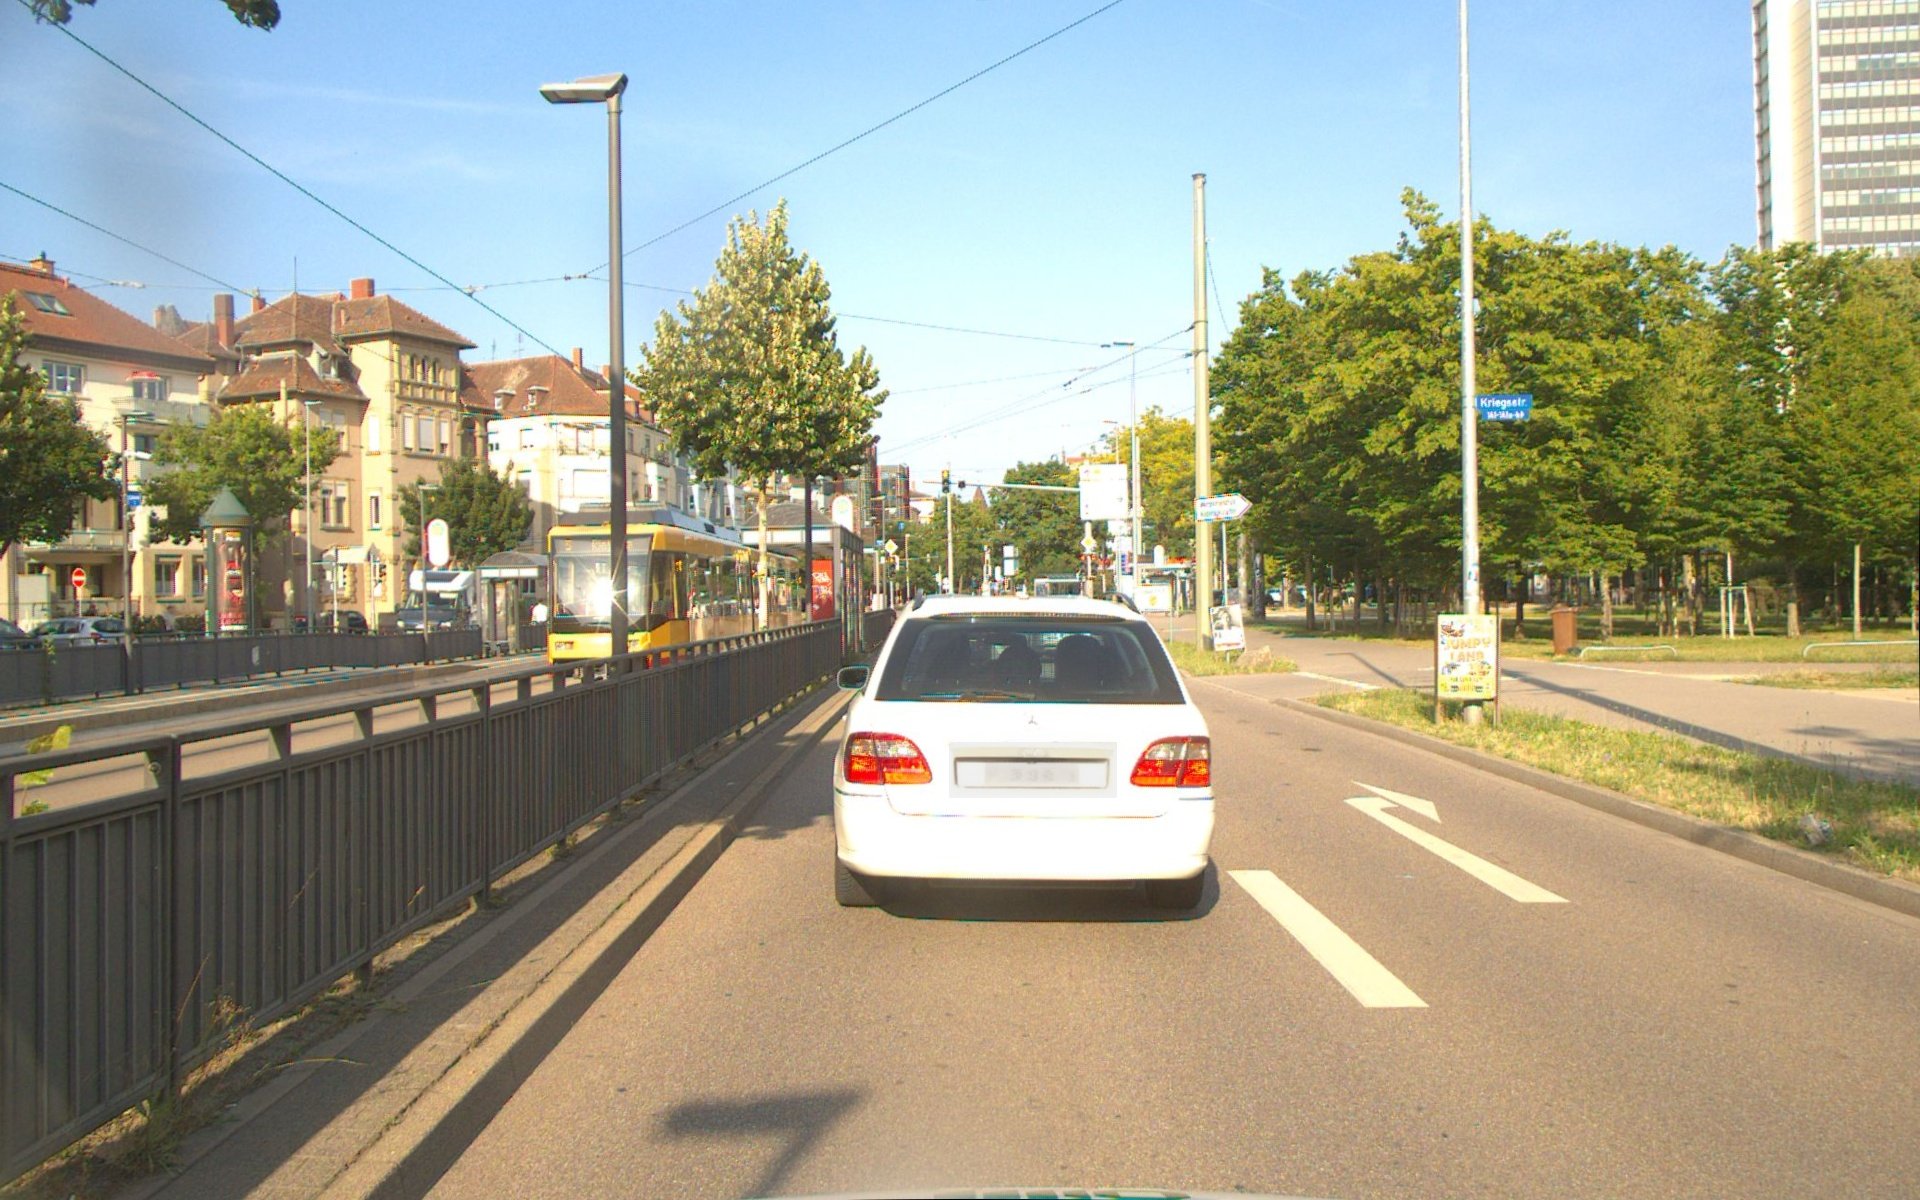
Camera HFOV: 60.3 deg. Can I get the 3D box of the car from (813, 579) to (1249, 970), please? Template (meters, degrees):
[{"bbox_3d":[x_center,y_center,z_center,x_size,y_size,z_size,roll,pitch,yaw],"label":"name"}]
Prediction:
[{"bbox_3d":[0.293,0.700,8.723,1.722,1.530,4.000,-2,0,0],"label":"car"}]

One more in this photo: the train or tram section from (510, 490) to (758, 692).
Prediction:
[{"bbox_3d":[-6.512,-0.228,35.570,2.791,3.540,13.199,0,1,0],"label":"train or tram section"}]

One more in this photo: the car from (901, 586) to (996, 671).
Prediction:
[{"bbox_3d":[-0.201,0.566,35.865,1.750,1.719,4.002,-1,0,4],"label":"car"}]

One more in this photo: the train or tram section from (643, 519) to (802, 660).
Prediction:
[{"bbox_3d":[-6.638,-0.326,48.409,2.791,3.540,13.199,-1,0,0],"label":"train or tram section"}]

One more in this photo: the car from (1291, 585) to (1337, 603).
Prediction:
[{"bbox_3d":[34.417,-0.594,160.832,3.940,1.680,1.982,-2,0,-27],"label":"car"}]

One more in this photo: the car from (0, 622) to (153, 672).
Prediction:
[{"bbox_3d":[-26.675,1.394,49.756,3.902,1.422,2.002,0,0,14],"label":"car"}]

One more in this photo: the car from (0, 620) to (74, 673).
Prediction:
[{"bbox_3d":[-27.608,1.304,47.036,3.902,1.422,2.002,0,0,14],"label":"car"}]

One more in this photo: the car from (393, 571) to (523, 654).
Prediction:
[{"bbox_3d":[-17.987,0.407,59.739,2.544,2.783,7.467,-1,0,-1],"label":"car"}]

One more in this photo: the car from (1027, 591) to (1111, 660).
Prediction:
[{"bbox_3d":[2.752,0.615,41.920,1.990,1.633,4.002,-1,0,4],"label":"car"}]

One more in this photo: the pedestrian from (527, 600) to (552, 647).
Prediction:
[{"bbox_3d":[-16.355,0.904,64.302,0.871,1.784,0.744,-1,0,-11],"label":"pedestrian"}]

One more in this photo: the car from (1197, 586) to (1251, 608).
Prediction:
[{"bbox_3d":[21.255,-0.245,133.181,3.908,1.680,1.999,-2,0,25],"label":"car"}]

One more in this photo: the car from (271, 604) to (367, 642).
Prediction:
[{"bbox_3d":[-30.905,1.108,79.754,3.903,1.780,2.001,0,0,17],"label":"car"}]

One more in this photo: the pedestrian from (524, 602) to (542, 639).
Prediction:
[{"bbox_3d":[-21.043,1.010,81.463,0.651,1.784,0.746,-1,0,3],"label":"pedestrian"}]

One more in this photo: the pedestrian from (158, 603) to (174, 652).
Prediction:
[{"bbox_3d":[-33.661,1.174,70.093,0.412,2.049,0.434,-1,0,18],"label":"pedestrian"}]
